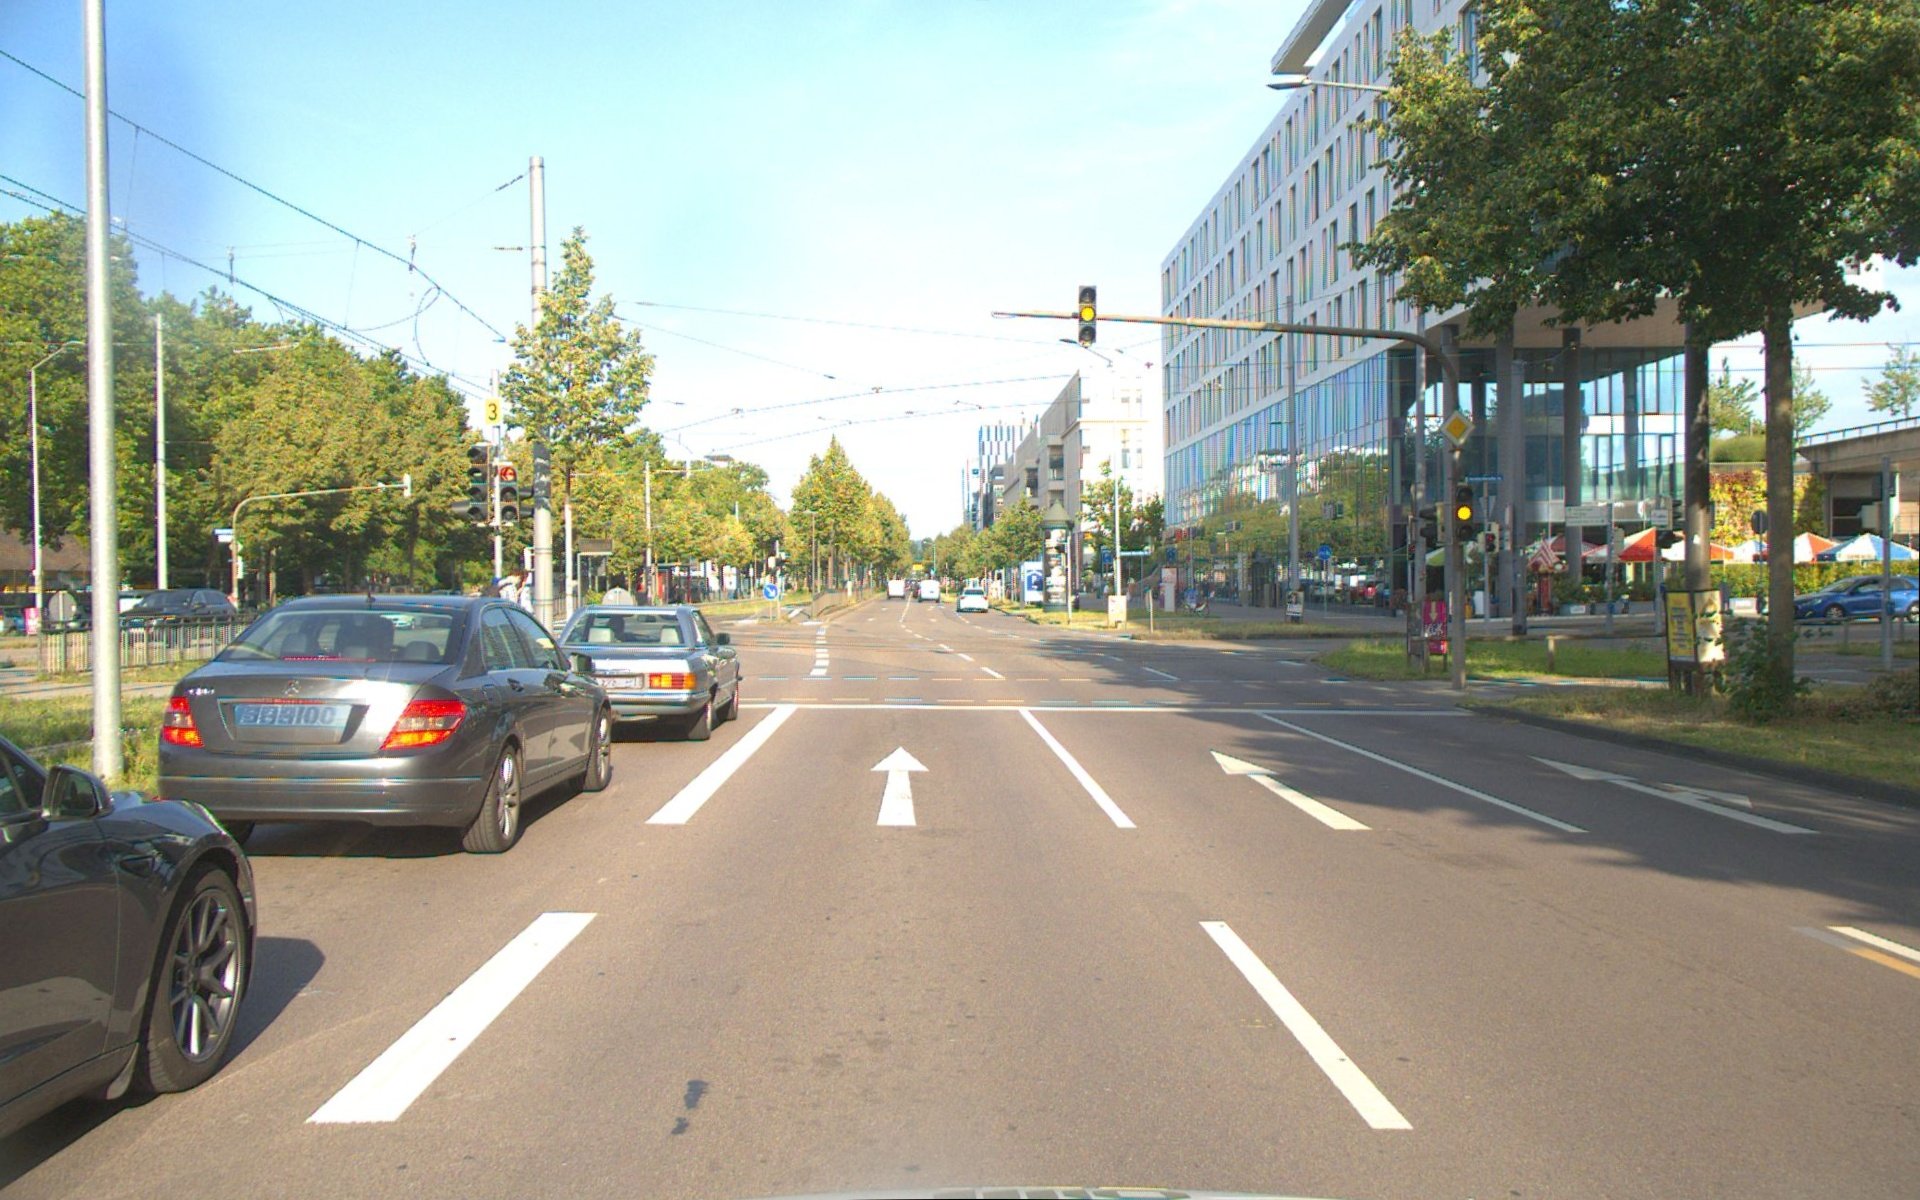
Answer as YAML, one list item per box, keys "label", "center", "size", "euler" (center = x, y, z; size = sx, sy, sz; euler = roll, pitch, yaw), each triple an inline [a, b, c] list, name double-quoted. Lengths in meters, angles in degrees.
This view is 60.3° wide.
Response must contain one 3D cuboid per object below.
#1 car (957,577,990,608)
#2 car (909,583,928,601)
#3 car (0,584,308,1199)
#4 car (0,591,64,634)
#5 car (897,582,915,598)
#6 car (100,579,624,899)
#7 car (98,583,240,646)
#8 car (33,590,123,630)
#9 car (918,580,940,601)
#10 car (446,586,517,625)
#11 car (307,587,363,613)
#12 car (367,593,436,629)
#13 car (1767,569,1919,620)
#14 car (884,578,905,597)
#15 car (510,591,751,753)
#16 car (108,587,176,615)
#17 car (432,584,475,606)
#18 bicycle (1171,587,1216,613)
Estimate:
- label: "car"
  center: [0.754, -0.468, 97.549]
  size: [1.826, 1.713, 4.000]
  euler: [1, 1, -1]
- label: "car"
  center: [-4.221, -0.820, 168.182]
  size: [1.885, 1.713, 4.000]
  euler: [1, 1, -1]
- label: "car"
  center: [-3.007, 0.696, 3.209]
  size: [1.851, 1.410, 4.333]
  euler: [1, 1, -2]
- label: "car"
  center: [-41.367, 0.536, 72.467]
  size: [1.842, 1.780, 4.002]
  euler: [-1, 0, 4]
- label: "car"
  center: [-5.926, -1.097, 182.141]
  size: [1.885, 1.713, 3.998]
  euler: [1, 1, -3]
- label: "car"
  center: [-3.359, 0.658, 10.253]
  size: [1.750, 1.504, 4.353]
  euler: [1, 1, -2]
- label: "car"
  center: [-23.625, 0.395, 49.625]
  size: [1.953, 1.714, 4.994]
  euler: [-1, 1, -2]
- label: "car"
  center: [-41.142, 0.447, 77.233]
  size: [1.842, 1.780, 4.002]
  euler: [-1, 0, 4]
- label: "car"
  center: [-2.644, -0.810, 140.139]
  size: [1.826, 1.713, 4.000]
  euler: [1, 1, -1]
- label: "car"
  center: [-20.640, 0.219, 71.520]
  size: [1.953, 1.530, 4.091]
  euler: [-2, 0, -2]
- label: "car"
  center: [-39.924, 0.009, 105.720]
  size: [1.842, 1.586, 4.002]
  euler: [-1, 0, 4]
- label: "car"
  center: [-26.755, 0.500, 79.377]
  size: [1.838, 1.554, 4.224]
  euler: [-1, 1, 0]
- label: "car"
  center: [27.404, -0.179, 51.051]
  size: [4.100, 1.448, 1.858]
  euler: [-2, 1, -3]
- label: "car"
  center: [-6.298, -1.209, 159.484]
  size: [1.974, 1.713, 4.000]
  euler: [1, 1, -1]
- label: "car"
  center: [-3.199, 0.631, 16.889]
  size: [1.728, 1.353, 4.398]
  euler: [1, 1, -2]
- label: "car"
  center: [-48.353, 0.048, 97.823]
  size: [1.842, 1.586, 4.002]
  euler: [-1, 0, 4]
- label: "car"
  center: [-38.519, -0.404, 125.869]
  size: [1.842, 1.586, 4.002]
  euler: [-1, 0, 4]
- label: "bicycle"
  center: [10.104, -0.017, 71.598]
  size: [0.768, 1.050, 1.848]
  euler: [-1, 3, -45]
